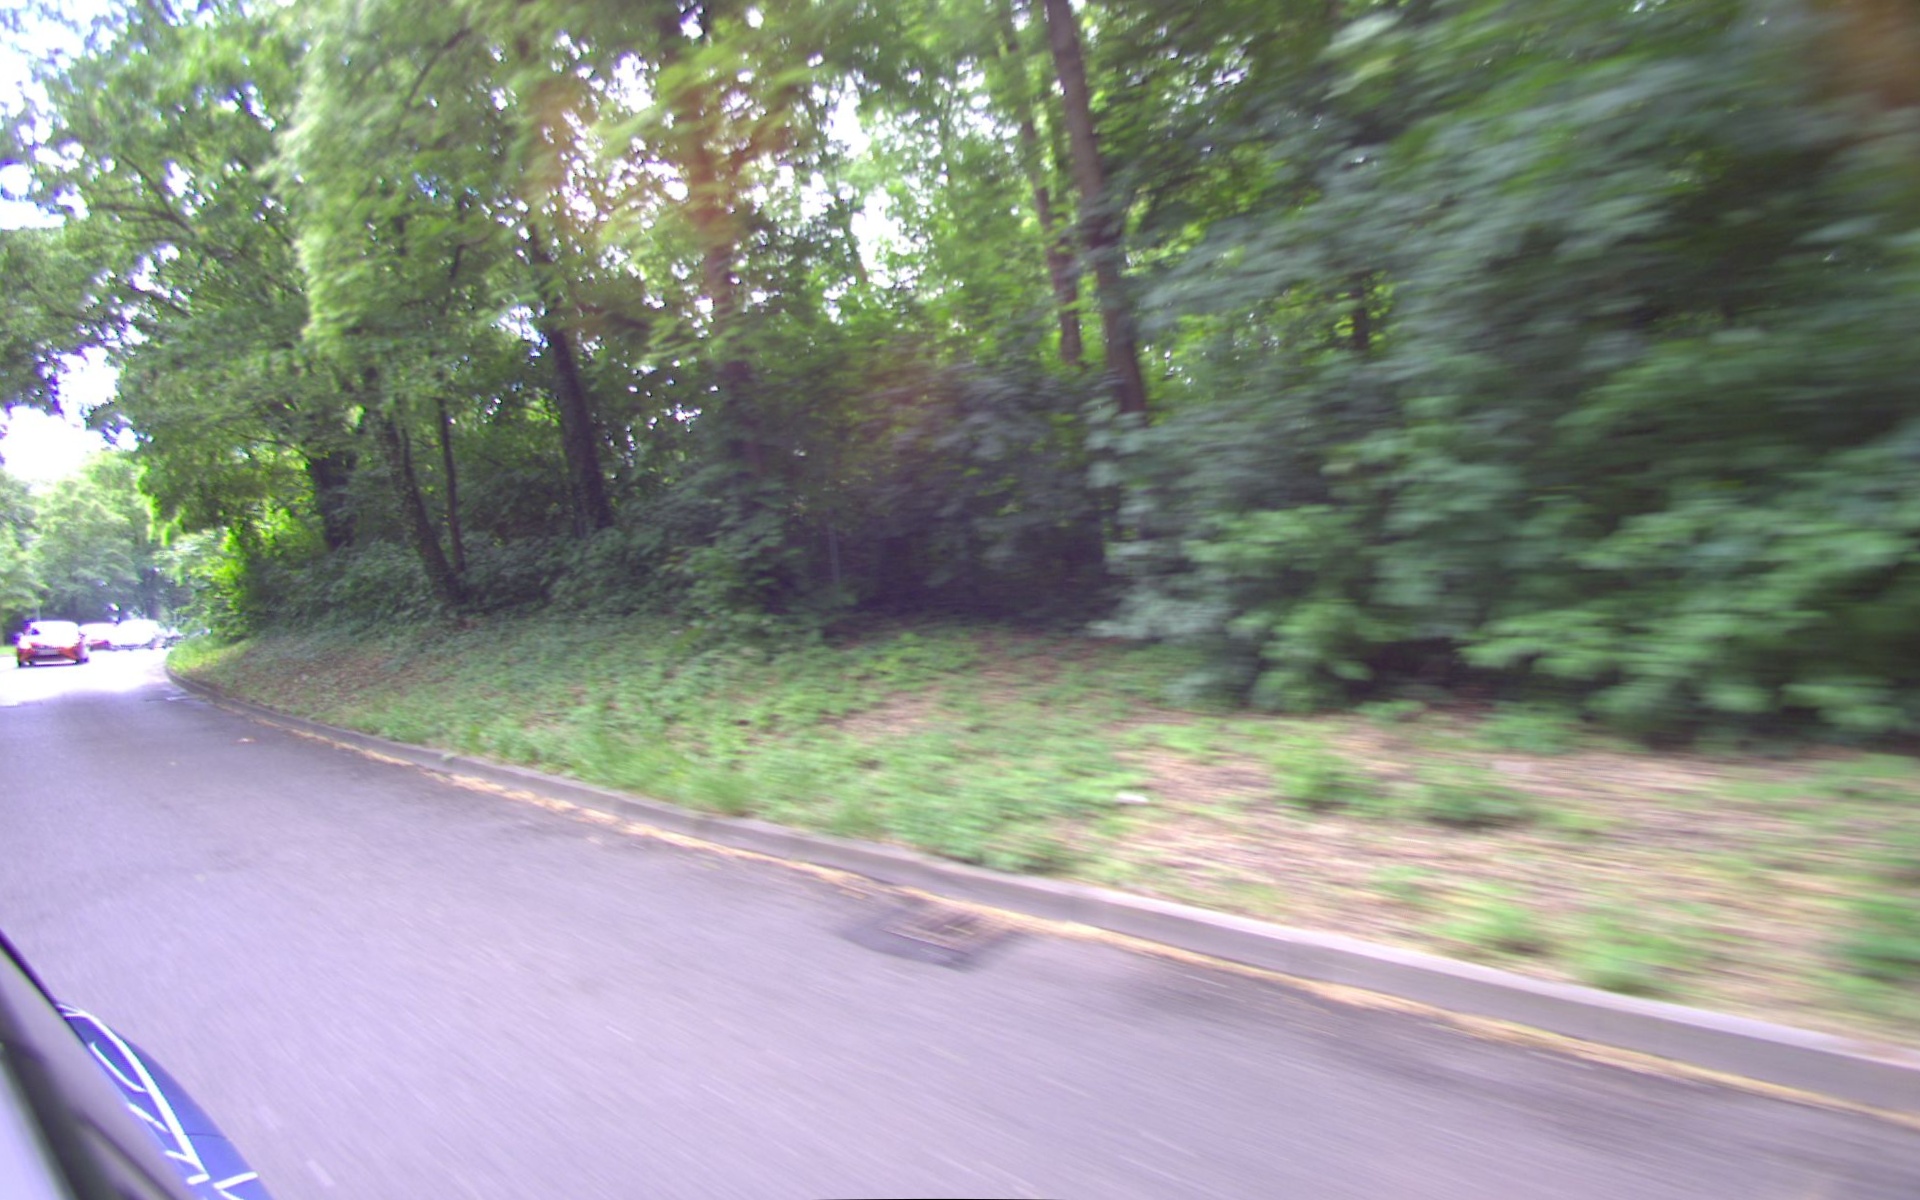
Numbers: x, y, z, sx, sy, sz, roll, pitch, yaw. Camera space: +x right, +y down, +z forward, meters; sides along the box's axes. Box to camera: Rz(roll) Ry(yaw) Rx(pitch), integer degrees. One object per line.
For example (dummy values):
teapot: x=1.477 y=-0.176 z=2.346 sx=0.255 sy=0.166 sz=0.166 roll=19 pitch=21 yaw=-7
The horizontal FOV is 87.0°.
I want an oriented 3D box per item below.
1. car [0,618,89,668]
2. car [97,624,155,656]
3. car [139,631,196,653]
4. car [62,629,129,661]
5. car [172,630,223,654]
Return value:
car: x=-31.305 y=1.441 z=34.718 sx=1.928 sy=1.483 sz=4.686 roll=-3 pitch=0 yaw=-38
car: x=-44.461 y=2.129 z=53.938 sx=4.041 sy=1.580 sz=1.634 roll=-2 pitch=0 yaw=40
car: x=-53.535 y=2.796 z=68.425 sx=1.686 sy=1.265 sz=4.692 roll=-3 pitch=0 yaw=-21
car: x=-48.769 y=2.497 z=57.169 sx=1.686 sy=1.563 sz=4.692 roll=-3 pitch=0 yaw=-26
car: x=-55.279 y=3.046 z=73.444 sx=1.686 sy=1.522 sz=4.692 roll=-3 pitch=0 yaw=-21
